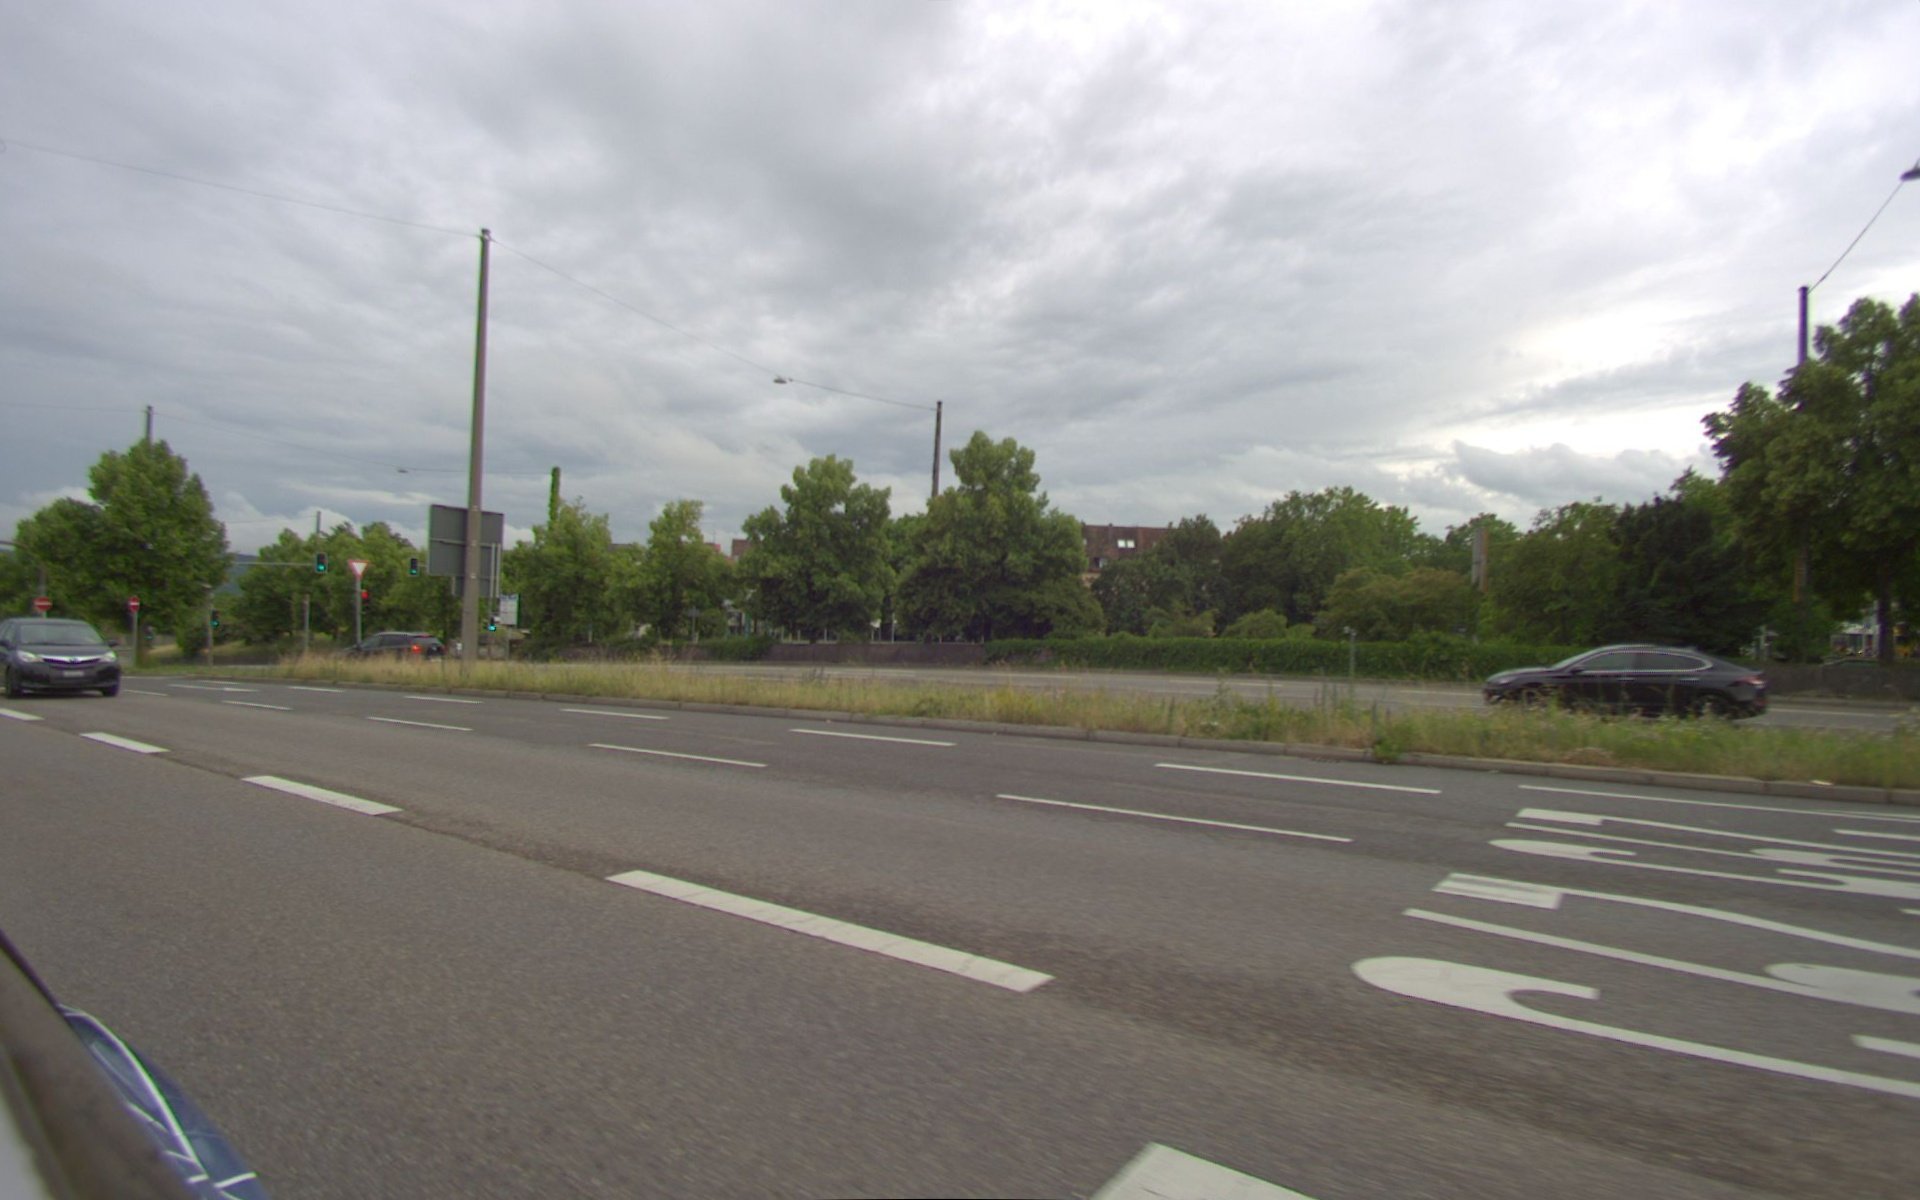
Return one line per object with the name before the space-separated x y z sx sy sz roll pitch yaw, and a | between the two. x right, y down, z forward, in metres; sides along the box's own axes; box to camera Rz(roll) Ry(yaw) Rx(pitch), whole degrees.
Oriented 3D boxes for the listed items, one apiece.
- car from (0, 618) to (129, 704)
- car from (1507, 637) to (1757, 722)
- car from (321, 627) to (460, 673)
car | -18.663 1.179 20.620 4.037 1.577 1.779 -1 -3 38
car | 12.208 1.429 18.648 3.663 1.371 1.582 -3 -1 31
car | -19.498 1.725 34.677 3.963 1.519 1.886 -1 -3 16
